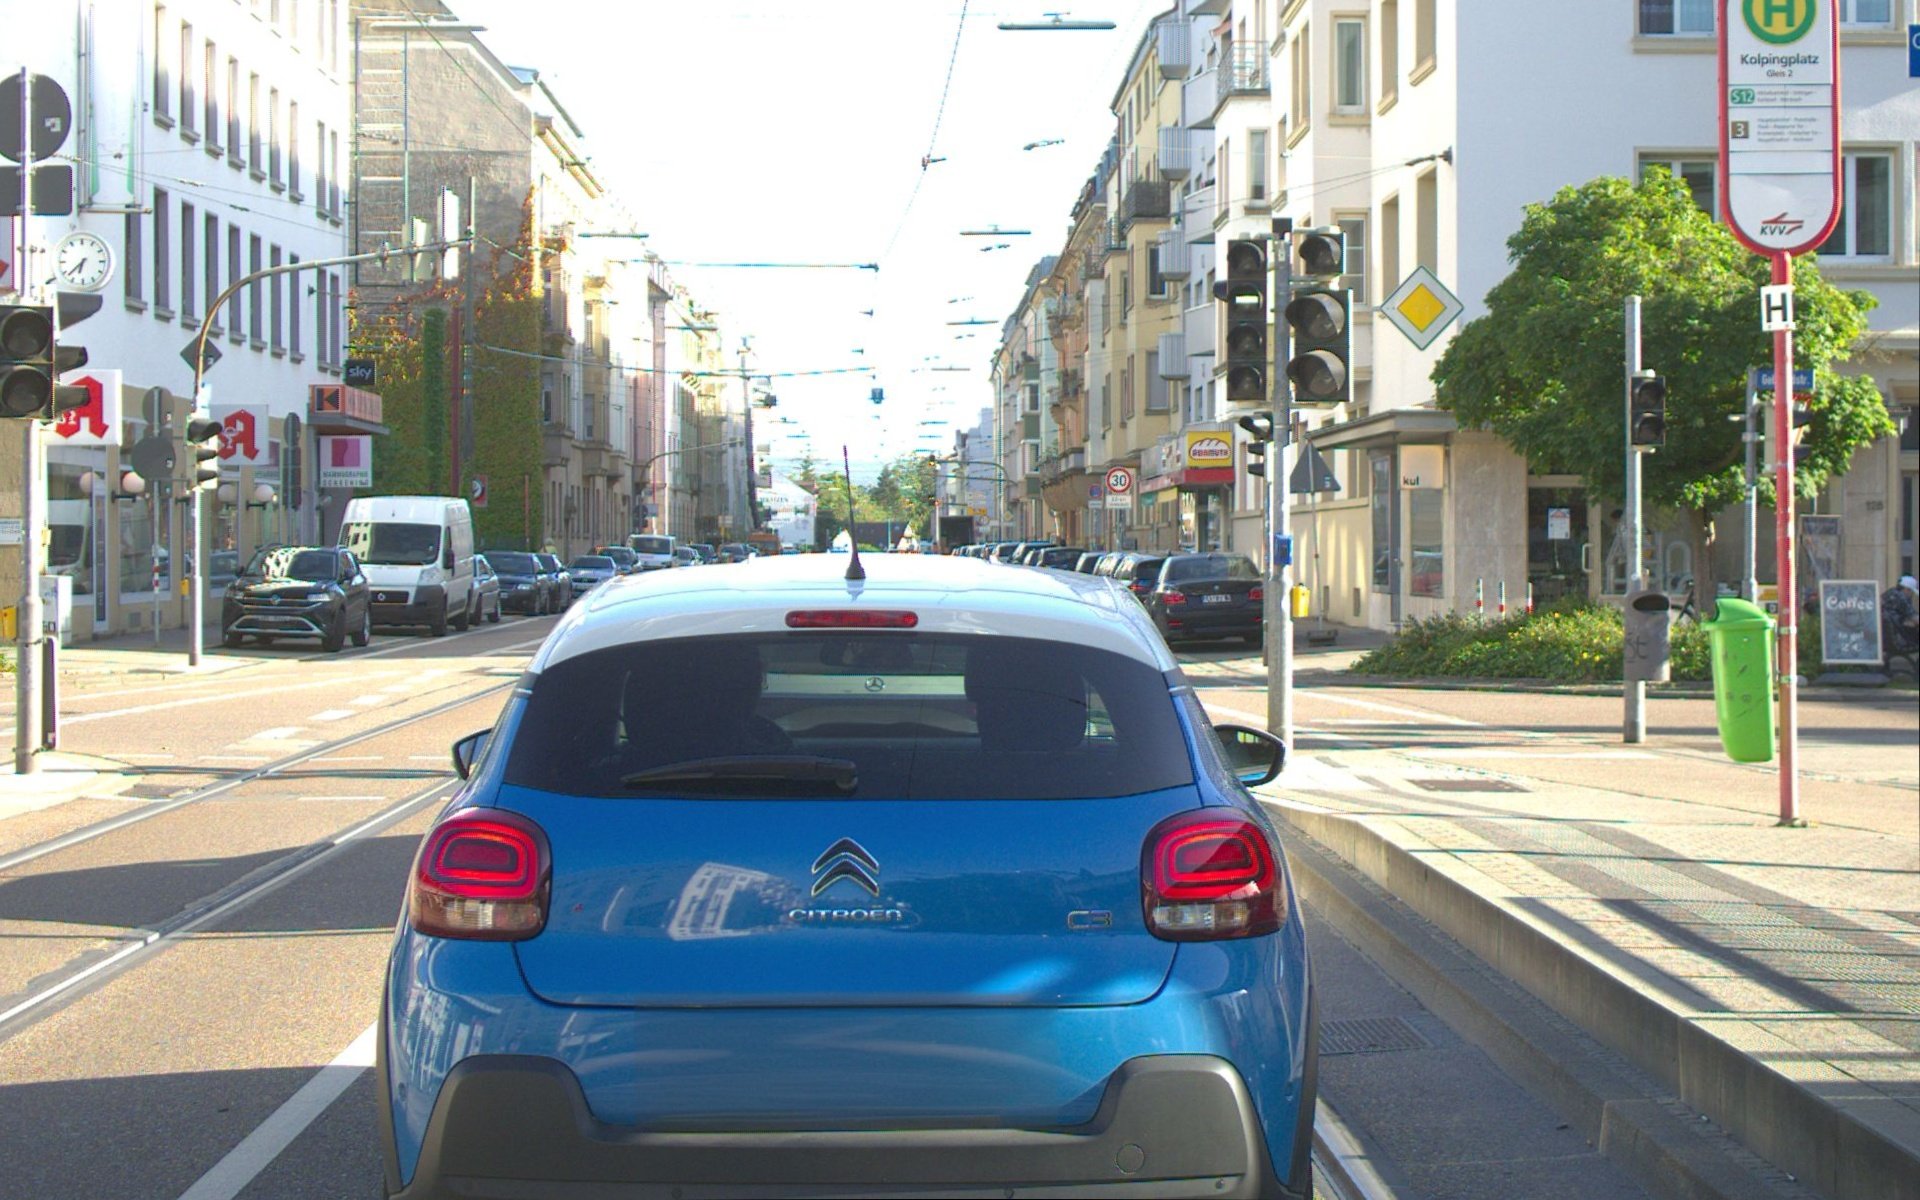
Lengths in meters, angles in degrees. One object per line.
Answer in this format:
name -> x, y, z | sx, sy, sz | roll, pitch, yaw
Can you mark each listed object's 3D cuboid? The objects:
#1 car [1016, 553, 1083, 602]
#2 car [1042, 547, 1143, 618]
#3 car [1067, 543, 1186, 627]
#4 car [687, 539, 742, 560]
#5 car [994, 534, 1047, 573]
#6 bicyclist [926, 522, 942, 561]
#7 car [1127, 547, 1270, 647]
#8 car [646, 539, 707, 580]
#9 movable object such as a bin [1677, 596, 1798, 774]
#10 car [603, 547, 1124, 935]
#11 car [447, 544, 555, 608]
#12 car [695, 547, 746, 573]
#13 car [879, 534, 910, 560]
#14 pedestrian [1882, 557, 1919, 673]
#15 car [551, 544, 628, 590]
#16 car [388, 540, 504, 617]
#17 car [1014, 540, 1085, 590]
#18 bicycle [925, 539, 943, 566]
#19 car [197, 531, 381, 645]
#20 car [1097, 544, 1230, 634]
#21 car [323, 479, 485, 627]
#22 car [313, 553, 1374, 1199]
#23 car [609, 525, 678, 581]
car -> 2.756, -0.708, 106.469 | 1.993, 1.459, 4.000 | 0, 1, 0
car -> 2.778, -0.389, 72.963 | 1.993, 1.459, 4.000 | 0, 1, 0
car -> 3.009, -0.301, 62.939 | 1.993, 1.496, 4.000 | 0, 1, 0
car -> -13.191, -2.713, 184.816 | 1.994, 1.152, 4.513 | 0, 1, 9
car -> 2.326, -1.806, 133.167 | 1.993, 1.459, 4.000 | 0, 1, 0
bicyclist -> -1.357, -3.072, 181.186 | 0.809, 2.007, 0.922 | 1, 0, -2
car -> 3.591, -0.076, 52.443 | 1.909, 1.459, 4.000 | 0, 1, 0
car -> -11.303, -1.608, 137.301 | 1.955, 1.547, 3.938 | 1, 0, 2
movable object such as a bin -> 3.514, 0.379, 15.554 | 0.449, 0.783, 0.489 | 0, 1, 2
car -> -0.406, 0.508, 15.675 | 1.984, 1.459, 4.816 | 1, 1, -1
car -> -10.403, -0.552, 78.133 | 1.993, 1.393, 4.157 | 1, 0, -2
car -> -10.722, -1.819, 154.093 | 1.993, 1.152, 4.000 | 0, 1, 0
car -> -4.388, -3.573, 230.609 | 1.993, 1.766, 4.000 | 0, 1, -1
pedestrian -> 10.892, 0.167, 39.013 | 0.741, 1.311, 0.627 | 0, 1, 23
car -> -11.115, -0.996, 103.290 | 1.993, 1.320, 3.923 | 1, 0, -2
car -> -10.378, -0.438, 69.554 | 1.888, 1.491, 3.562 | 1, 0, -2
car -> 2.629, -1.054, 102.087 | 1.993, 1.459, 4.504 | 0, 1, 0
bicycle -> -1.373, -2.499, 181.145 | 0.920, 1.384, 3.132 | 0, 1, 0
car -> -10.172, -0.188, 52.406 | 1.993, 1.563, 4.403 | 3, 0, -2
car -> 3.366, -0.205, 57.491 | 1.993, 1.459, 4.000 | 0, 1, 0
car -> -10.083, -0.865, 62.760 | 2.085, 2.533, 6.206 | 1, 1, -2
car -> -0.221, 0.655, 7.570 | 1.728, 1.477, 3.827 | 1, 1, -1
car -> -11.654, -1.728, 126.782 | 2.006, 2.007, 4.689 | 1, 0, 1
